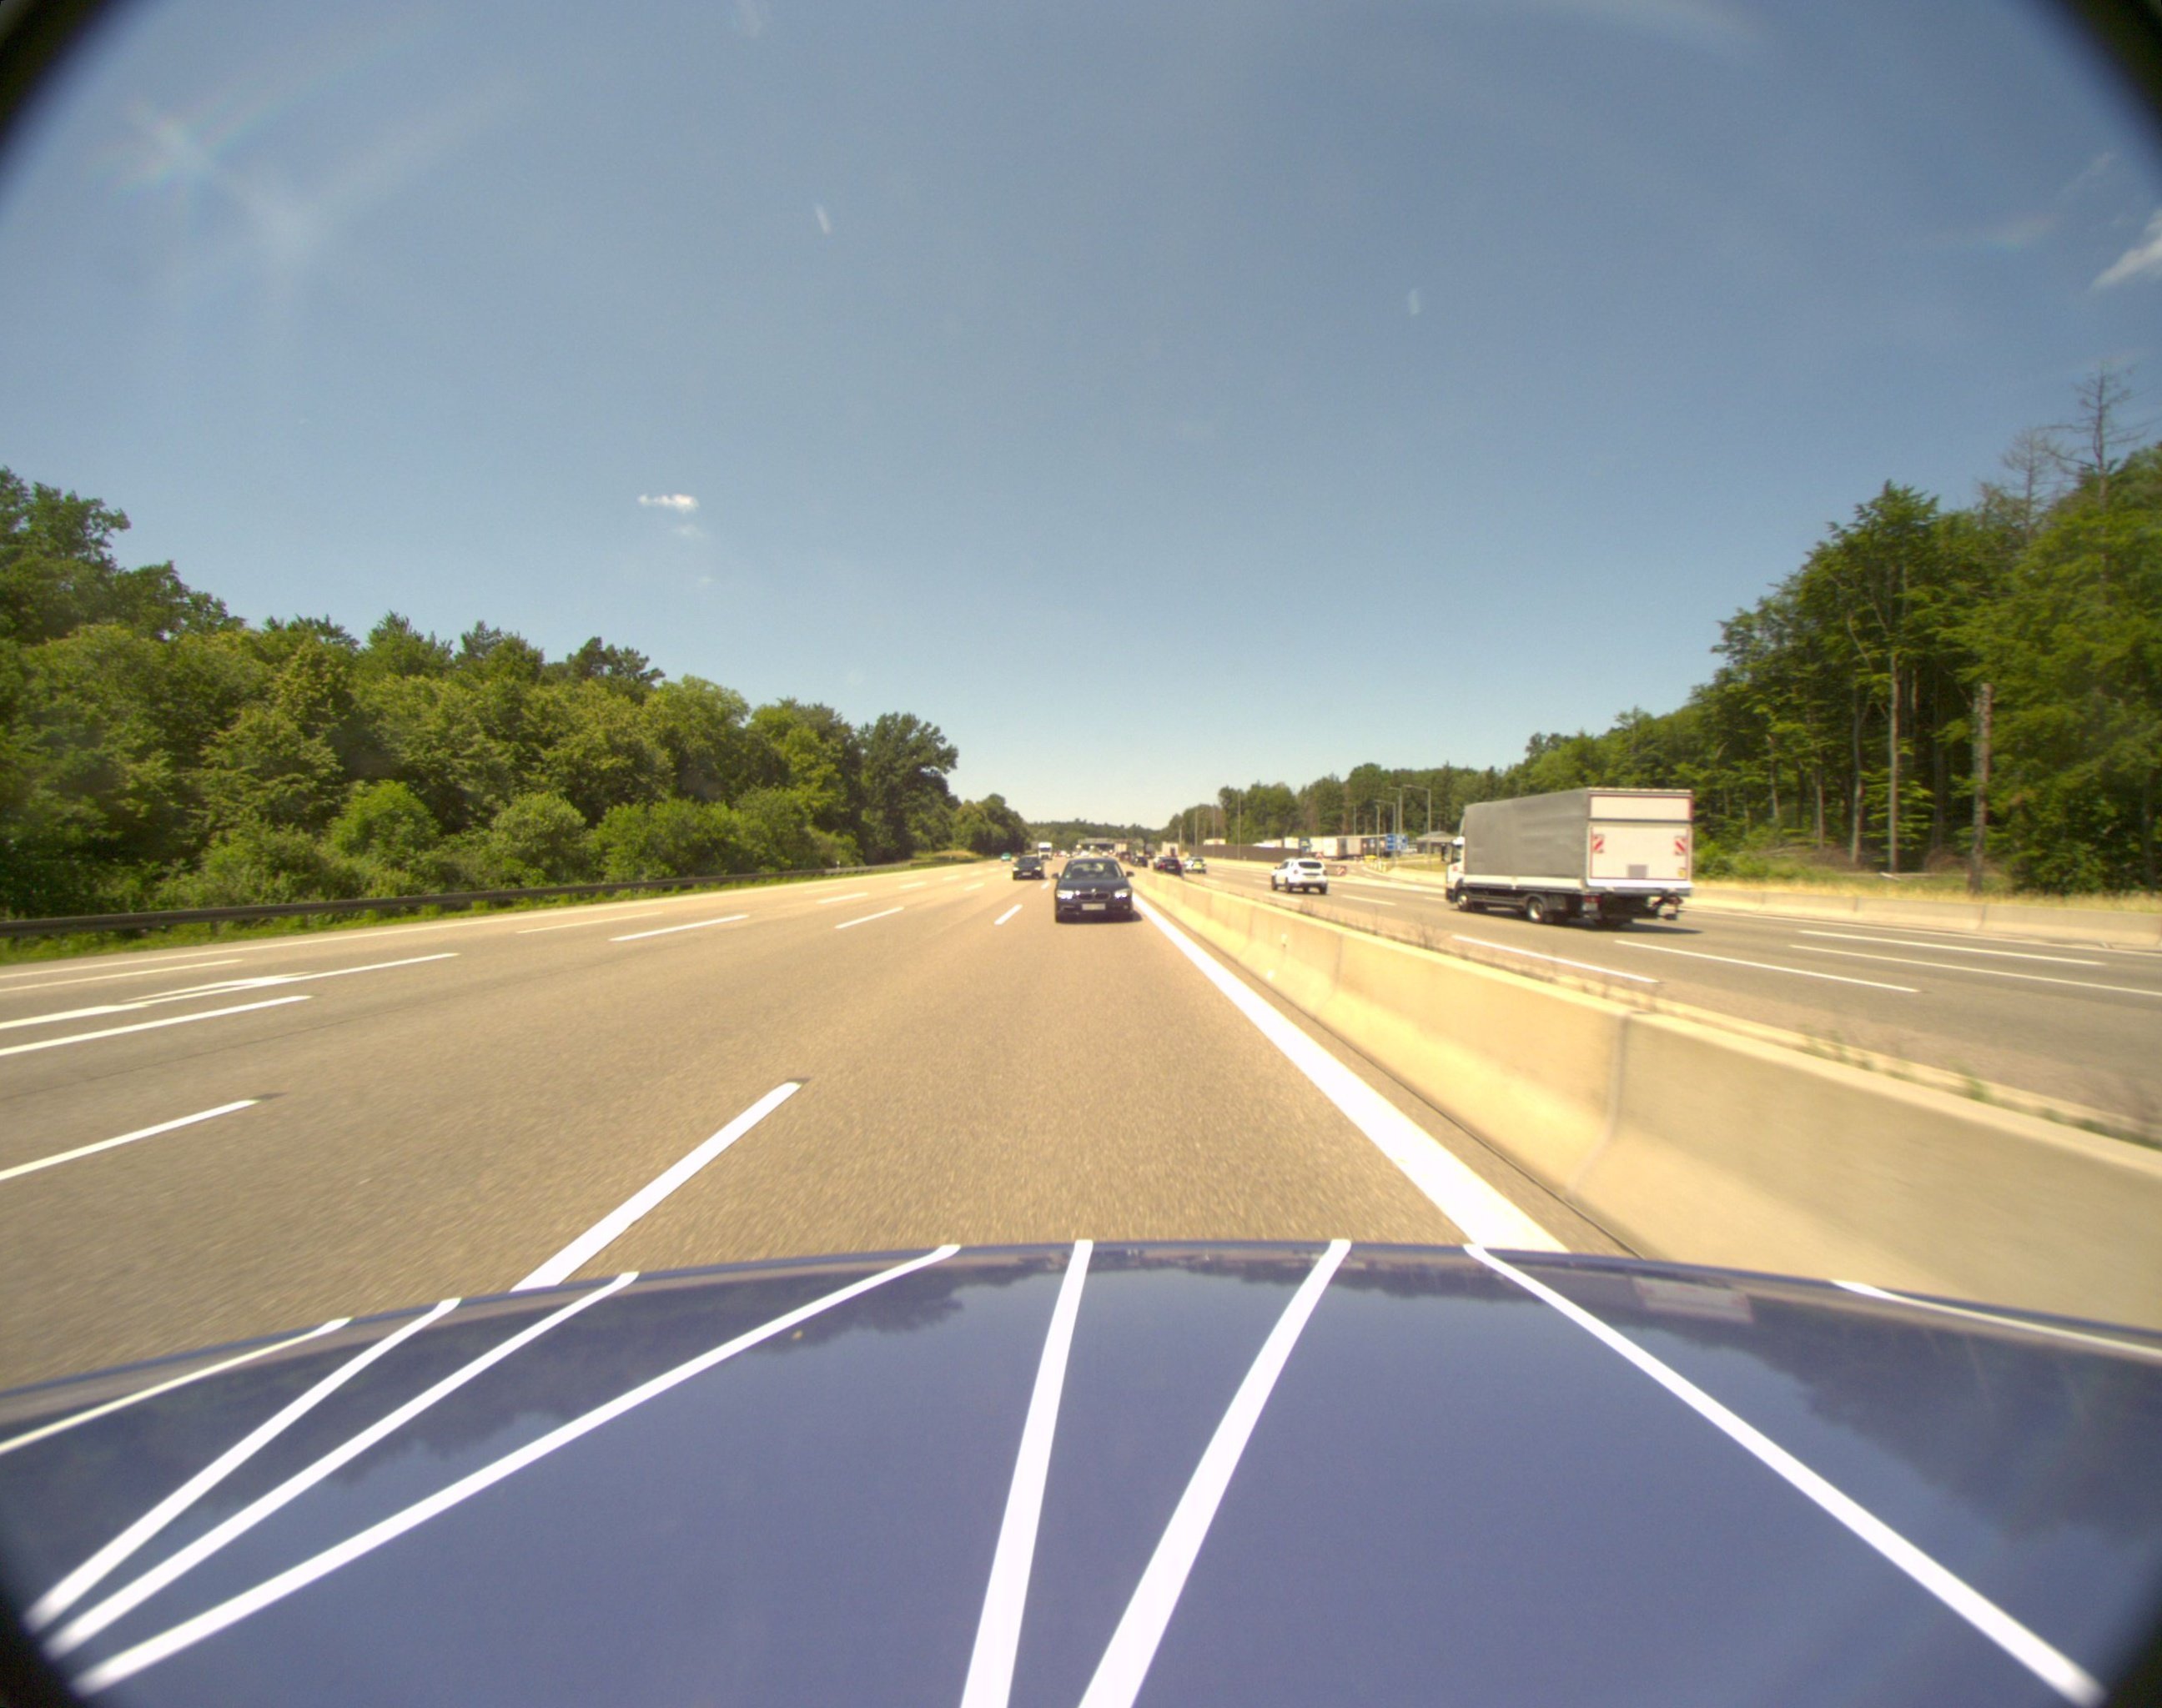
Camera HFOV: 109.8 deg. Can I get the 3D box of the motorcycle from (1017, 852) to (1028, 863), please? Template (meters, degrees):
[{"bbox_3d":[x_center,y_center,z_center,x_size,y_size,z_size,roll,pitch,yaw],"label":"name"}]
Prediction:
[{"bbox_3d":[-6.736,0.405,87.718,0.925,1.311,2.997,0,1,1],"label":"motorcycle"}]

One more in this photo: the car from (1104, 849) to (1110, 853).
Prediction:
[{"bbox_3d":[7.953,-0.937,232.151,1.752,1.449,4.155,0,1,-1],"label":"car"}]

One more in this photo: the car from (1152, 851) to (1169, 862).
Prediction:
[{"bbox_3d":[10.713,0.344,102.566,1.765,1.455,4.839,0,1,0],"label":"car"}]

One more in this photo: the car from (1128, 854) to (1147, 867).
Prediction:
[{"bbox_3d":[6.759,0.722,90.873,1.917,1.456,4.586,0,1,0],"label":"car"}]

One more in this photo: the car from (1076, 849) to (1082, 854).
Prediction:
[{"bbox_3d":[-0.623,-0.871,256.187,1.910,1.450,4.126,1,1,0],"label":"car"}]

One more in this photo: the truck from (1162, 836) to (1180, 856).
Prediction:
[{"bbox_3d":[19.403,-1.778,164.018,2.842,4.173,10.595,0,1,1],"label":"truck"}]

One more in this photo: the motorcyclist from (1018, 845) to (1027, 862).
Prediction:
[{"bbox_3d":[-6.745,-0.110,87.573,0.914,1.926,0.905,1,1,1],"label":"motorcyclist"}]

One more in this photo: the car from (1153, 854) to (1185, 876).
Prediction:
[{"bbox_3d":[6.410,0.744,55.804,1.917,1.456,4.362,0,1,0],"label":"car"}]

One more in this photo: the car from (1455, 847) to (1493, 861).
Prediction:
[{"bbox_3d":[59.498,0.012,114.981,4.733,2.002,2.088,0,1,15],"label":"car"}]

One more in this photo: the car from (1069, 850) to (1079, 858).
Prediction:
[{"bbox_3d":[-1.648,0.044,177.207,1.998,1.671,4.127,1,1,2],"label":"car"}]

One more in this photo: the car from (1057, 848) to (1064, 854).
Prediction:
[{"bbox_3d":[-5.539,-0.763,207.407,1.874,1.560,4.127,0,0,1],"label":"car"}]

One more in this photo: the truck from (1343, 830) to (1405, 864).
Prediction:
[{"bbox_3d":[51.096,-1.204,132.033,16.746,5.580,3.214,0,1,-44],"label":"truck"}]

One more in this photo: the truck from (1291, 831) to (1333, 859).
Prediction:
[{"bbox_3d":[48.328,-1.832,158.881,11.562,5.580,3.219,0,1,-45],"label":"truck"}]

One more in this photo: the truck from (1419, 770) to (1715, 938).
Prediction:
[{"bbox_3d":[13.703,-0.053,22.870,2.865,3.990,9.467,0,1,1],"label":"truck"}]

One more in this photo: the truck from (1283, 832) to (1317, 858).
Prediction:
[{"bbox_3d":[46.866,-1.888,162.247,8.506,5.580,3.219,0,1,-45],"label":"truck"}]

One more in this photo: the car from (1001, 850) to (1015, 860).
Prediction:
[{"bbox_3d":[-13.335,0.144,138.561,1.998,1.671,4.127,1,1,2],"label":"car"}]

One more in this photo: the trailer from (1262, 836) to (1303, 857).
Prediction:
[{"bbox_3d":[50.702,-1.911,190.689,14.597,5.043,3.120,0,1,-45],"label":"trailer"}]

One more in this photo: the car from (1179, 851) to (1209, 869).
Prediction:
[{"bbox_3d":[10.323,0.530,69.647,1.917,1.503,5.231,1,0,0],"label":"car"}]

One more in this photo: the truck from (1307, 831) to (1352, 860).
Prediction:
[{"bbox_3d":[49.116,-1.710,149.904,11.562,5.580,3.358,0,1,-45],"label":"truck"}]

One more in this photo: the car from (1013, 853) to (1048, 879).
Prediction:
[{"bbox_3d":[-3.059,0.712,46.590,1.834,1.454,4.203,1,1,0],"label":"car"}]

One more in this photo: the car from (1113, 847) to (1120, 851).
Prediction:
[{"bbox_3d":[12.191,-1.697,259.884,1.999,1.478,5.017,2,1,-1],"label":"car"}]

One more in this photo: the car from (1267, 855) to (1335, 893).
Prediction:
[{"bbox_3d":[10.517,0.922,36.614,1.917,1.651,4.688,1,0,0],"label":"car"}]

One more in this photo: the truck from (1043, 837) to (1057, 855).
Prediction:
[{"bbox_3d":[-5.879,-1.572,144.184,2.429,3.237,8.687,1,1,-2],"label":"truck"}]

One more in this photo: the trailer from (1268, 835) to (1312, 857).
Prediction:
[{"bbox_3d":[49.451,-1.791,179.456,14.597,5.043,3.214,0,1,-45],"label":"trailer"}]

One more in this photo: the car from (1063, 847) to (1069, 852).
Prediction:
[{"bbox_3d":[-4.498,-1.297,228.346,1.874,1.560,4.127,0,0,1],"label":"car"}]

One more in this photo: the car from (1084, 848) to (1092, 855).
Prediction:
[{"bbox_3d":[1.903,-0.696,206.168,1.998,1.935,4.128,0,0,2],"label":"car"}]

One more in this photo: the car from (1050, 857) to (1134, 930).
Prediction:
[{"bbox_3d":[0.294,0.852,18.400,1.741,1.450,4.542,-2,0,1],"label":"car"}]

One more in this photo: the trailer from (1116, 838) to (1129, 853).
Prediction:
[{"bbox_3d":[11.955,-2.530,220.691,3.031,4.201,14.465,2,1,0],"label":"trailer"}]

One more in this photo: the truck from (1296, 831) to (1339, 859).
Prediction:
[{"bbox_3d":[47.845,-1.772,153.378,11.562,5.580,3.219,0,1,-45],"label":"truck"}]

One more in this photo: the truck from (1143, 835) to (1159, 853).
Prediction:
[{"bbox_3d":[15.019,-2.149,163.458,2.584,3.819,7.016,1,1,0],"label":"truck"}]

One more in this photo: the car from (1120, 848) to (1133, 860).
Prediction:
[{"bbox_3d":[7.599,-0.076,127.510,1.903,1.942,5.656,1,1,0],"label":"car"}]

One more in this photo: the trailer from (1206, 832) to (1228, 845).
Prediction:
[{"bbox_3d":[32.994,-3.663,185.125,2.979,3.106,14.608,0,1,1],"label":"trailer"}]

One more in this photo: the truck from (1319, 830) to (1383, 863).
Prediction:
[{"bbox_3d":[47.668,-1.276,133.712,16.746,5.580,3.440,0,1,-44],"label":"truck"}]
